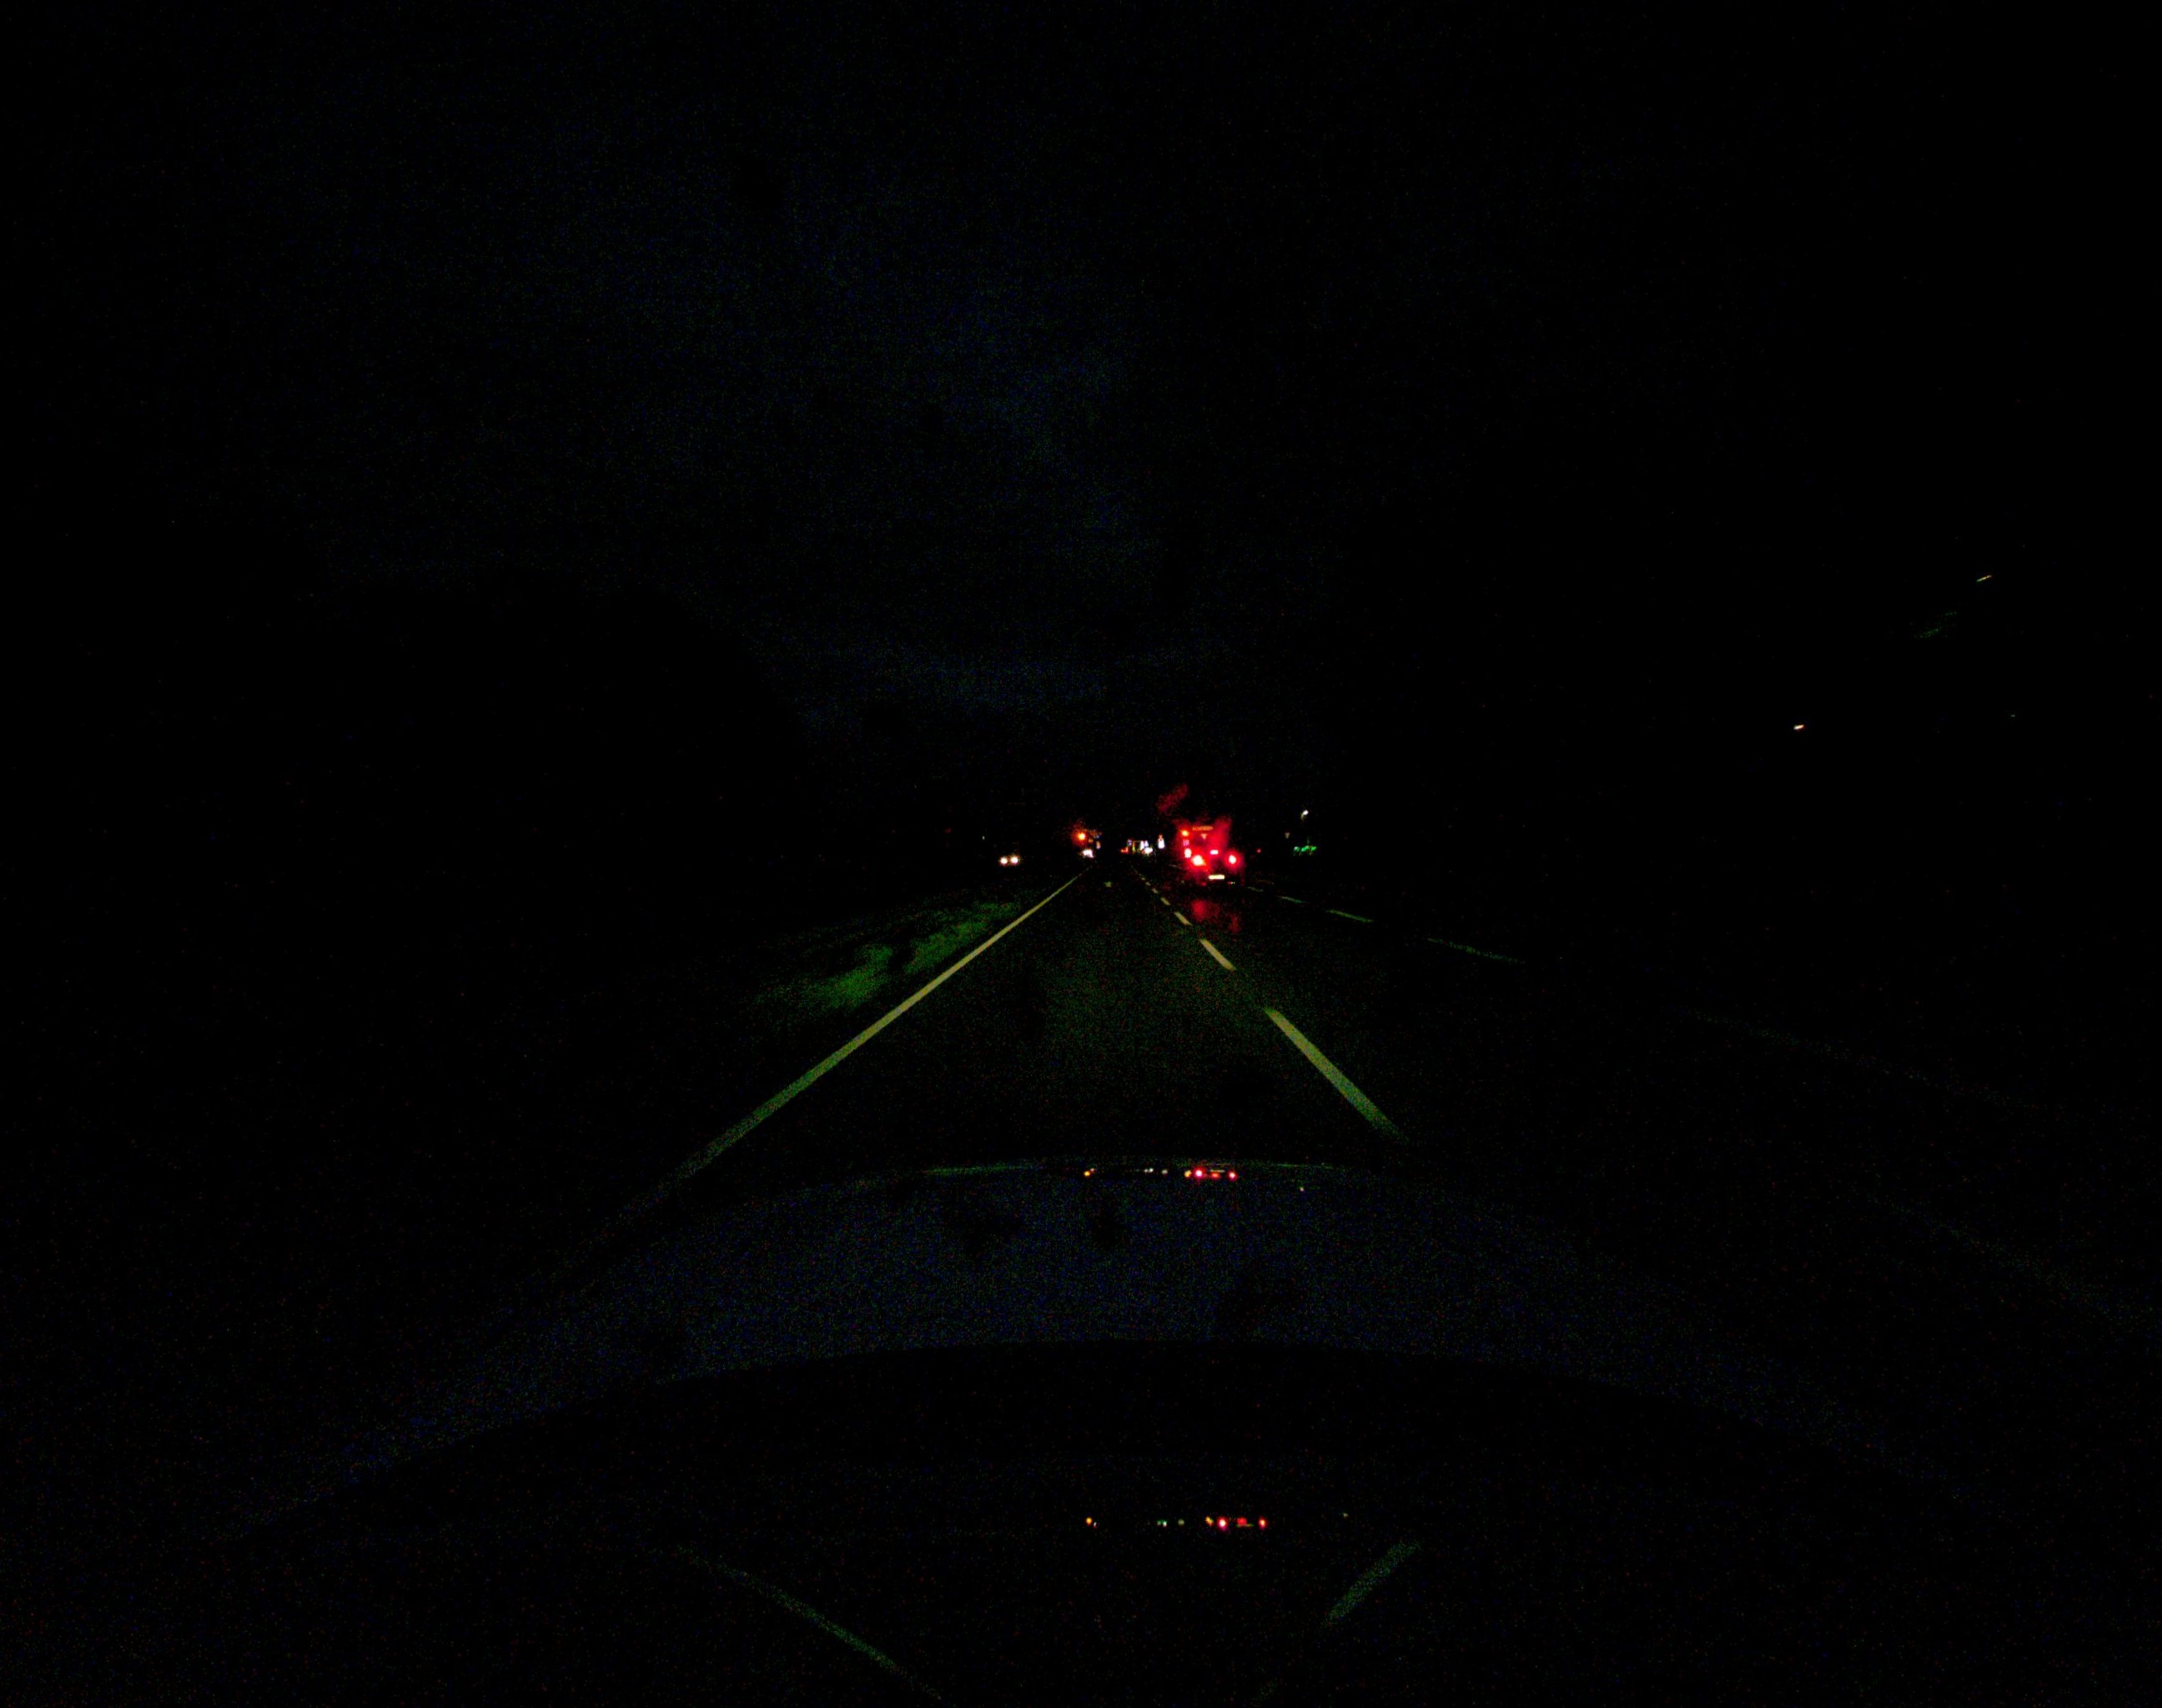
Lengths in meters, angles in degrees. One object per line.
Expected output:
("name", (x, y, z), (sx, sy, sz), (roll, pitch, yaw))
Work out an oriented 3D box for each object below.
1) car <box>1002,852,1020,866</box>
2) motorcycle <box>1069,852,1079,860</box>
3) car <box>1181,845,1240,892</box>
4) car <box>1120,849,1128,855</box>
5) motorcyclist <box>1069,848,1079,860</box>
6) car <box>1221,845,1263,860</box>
("car", (-8.727, 0.568, 101.486), (1.789, 1.671, 4.501), (-2, 0, 0))
("motorcycle", (-0.983, 0.290, 113.001), (0.973, 1.098, 2.515), (-3, 0, 9))
("car", (4.525, 0.483, 29.007), (1.663, 1.520, 4.109), (-1, 0, 3))
("car", (12.272, -0.565, 233.735), (2.265, 1.632, 4.001), (-2, 0, 1))
("motorcyclist", (-1.007, -0.059, 112.847), (1.130, 1.584, 0.975), (-3, 0, 8))
("car", (18.923, -0.190, 96.027), (4.582, 1.520, 2.001), (-3, 0, 2))
